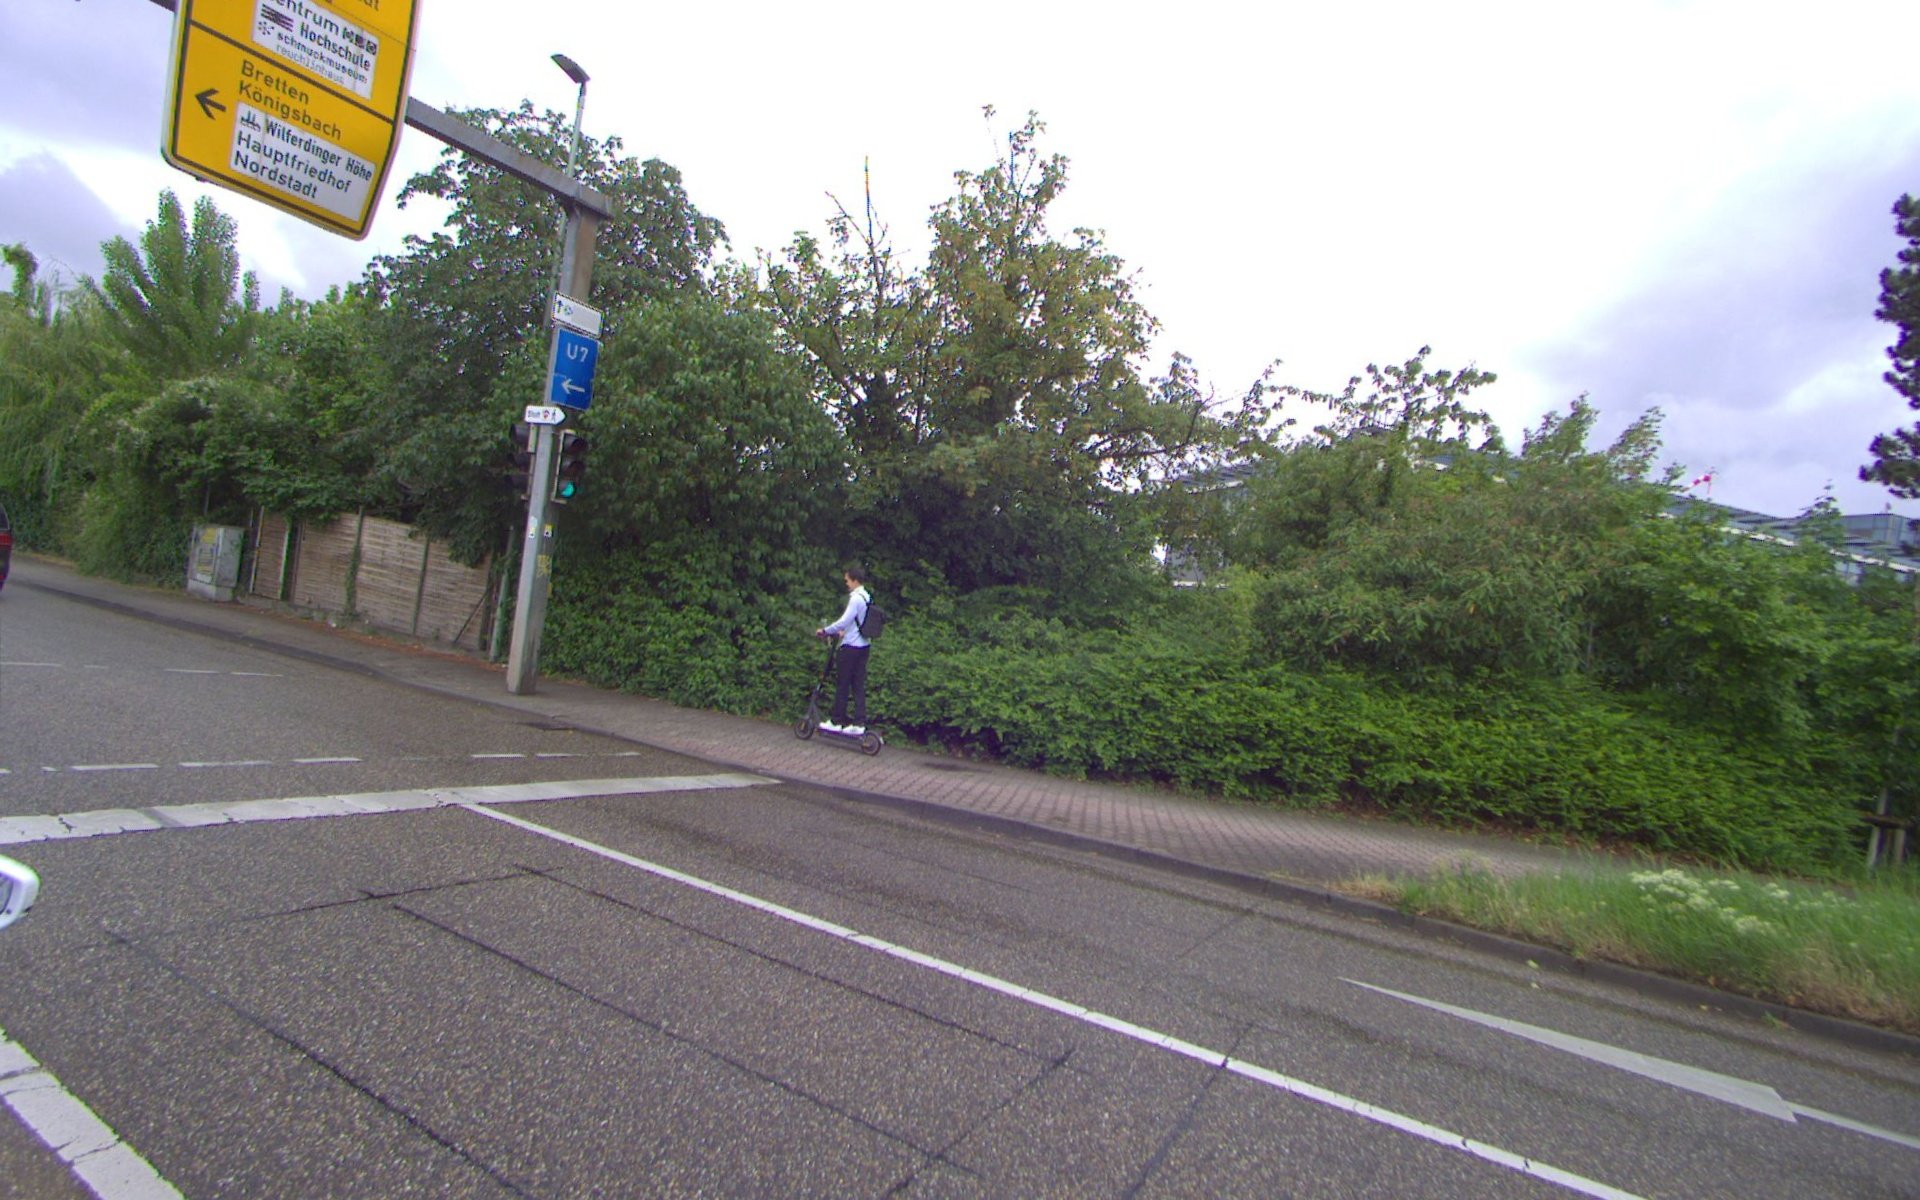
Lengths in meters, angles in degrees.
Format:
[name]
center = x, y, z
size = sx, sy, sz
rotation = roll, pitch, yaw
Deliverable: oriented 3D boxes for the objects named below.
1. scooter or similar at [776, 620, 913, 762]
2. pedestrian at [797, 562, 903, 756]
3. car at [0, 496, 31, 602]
[scooter or similar]
center = -1.301, 0.993, 11.245
size = 1.361, 1.377, 0.462
rotation = 7, 0, 28
[pedestrian]
center = -1.222, 0.651, 11.221
size = 0.705, 2.026, 0.657
rotation = 7, 0, 26
[car]
center = -16.660, -1.053, 15.829
size = 3.999, 1.593, 1.740
rotation = 7, -2, 30
